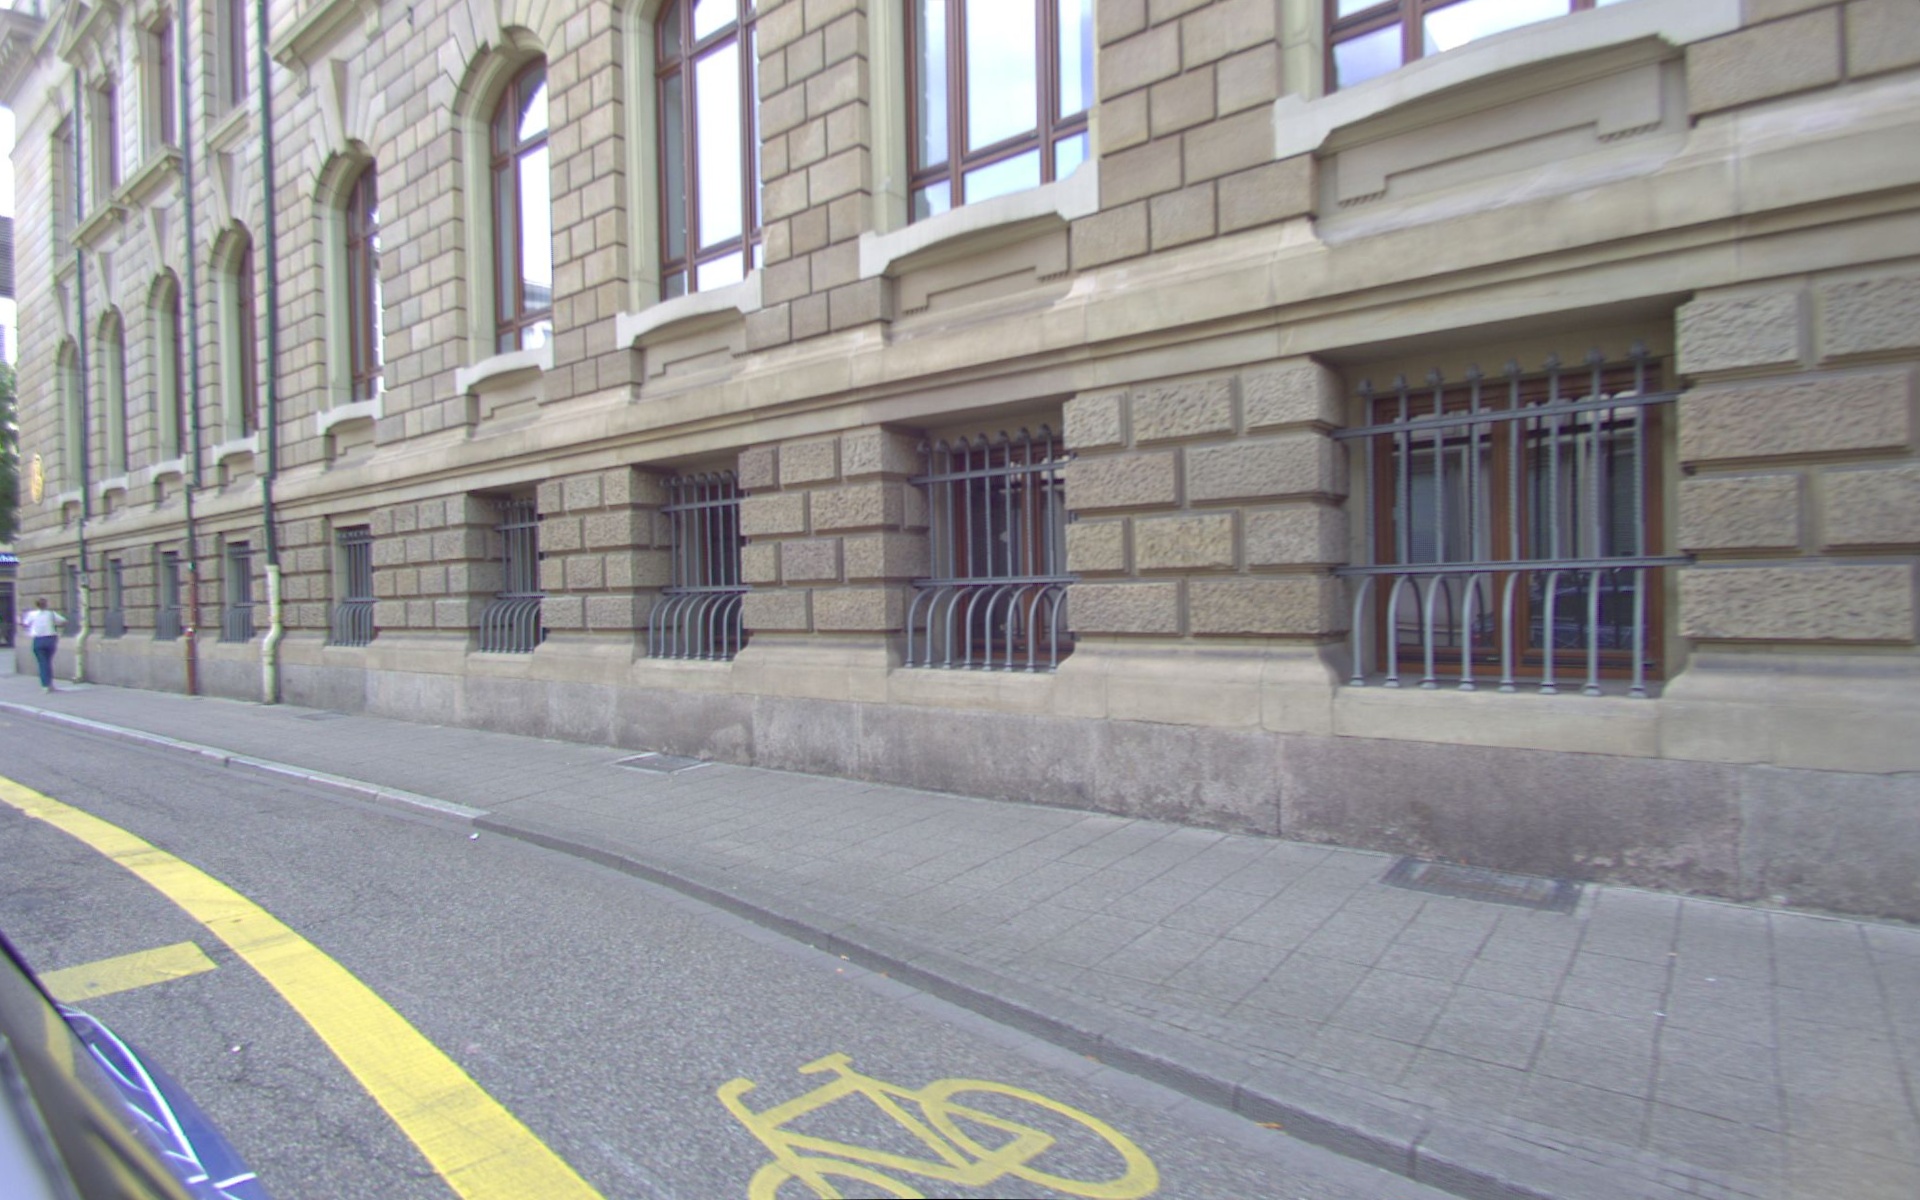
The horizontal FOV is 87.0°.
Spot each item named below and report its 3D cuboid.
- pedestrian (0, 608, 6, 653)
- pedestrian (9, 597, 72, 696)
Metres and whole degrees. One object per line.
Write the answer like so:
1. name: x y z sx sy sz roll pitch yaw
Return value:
1. pedestrian: -38.014 1.228 39.447 0.817 1.732 1.017 -1 3 37
2. pedestrian: -17.872 0.883 19.664 1.046 1.833 0.658 -1 2 38
